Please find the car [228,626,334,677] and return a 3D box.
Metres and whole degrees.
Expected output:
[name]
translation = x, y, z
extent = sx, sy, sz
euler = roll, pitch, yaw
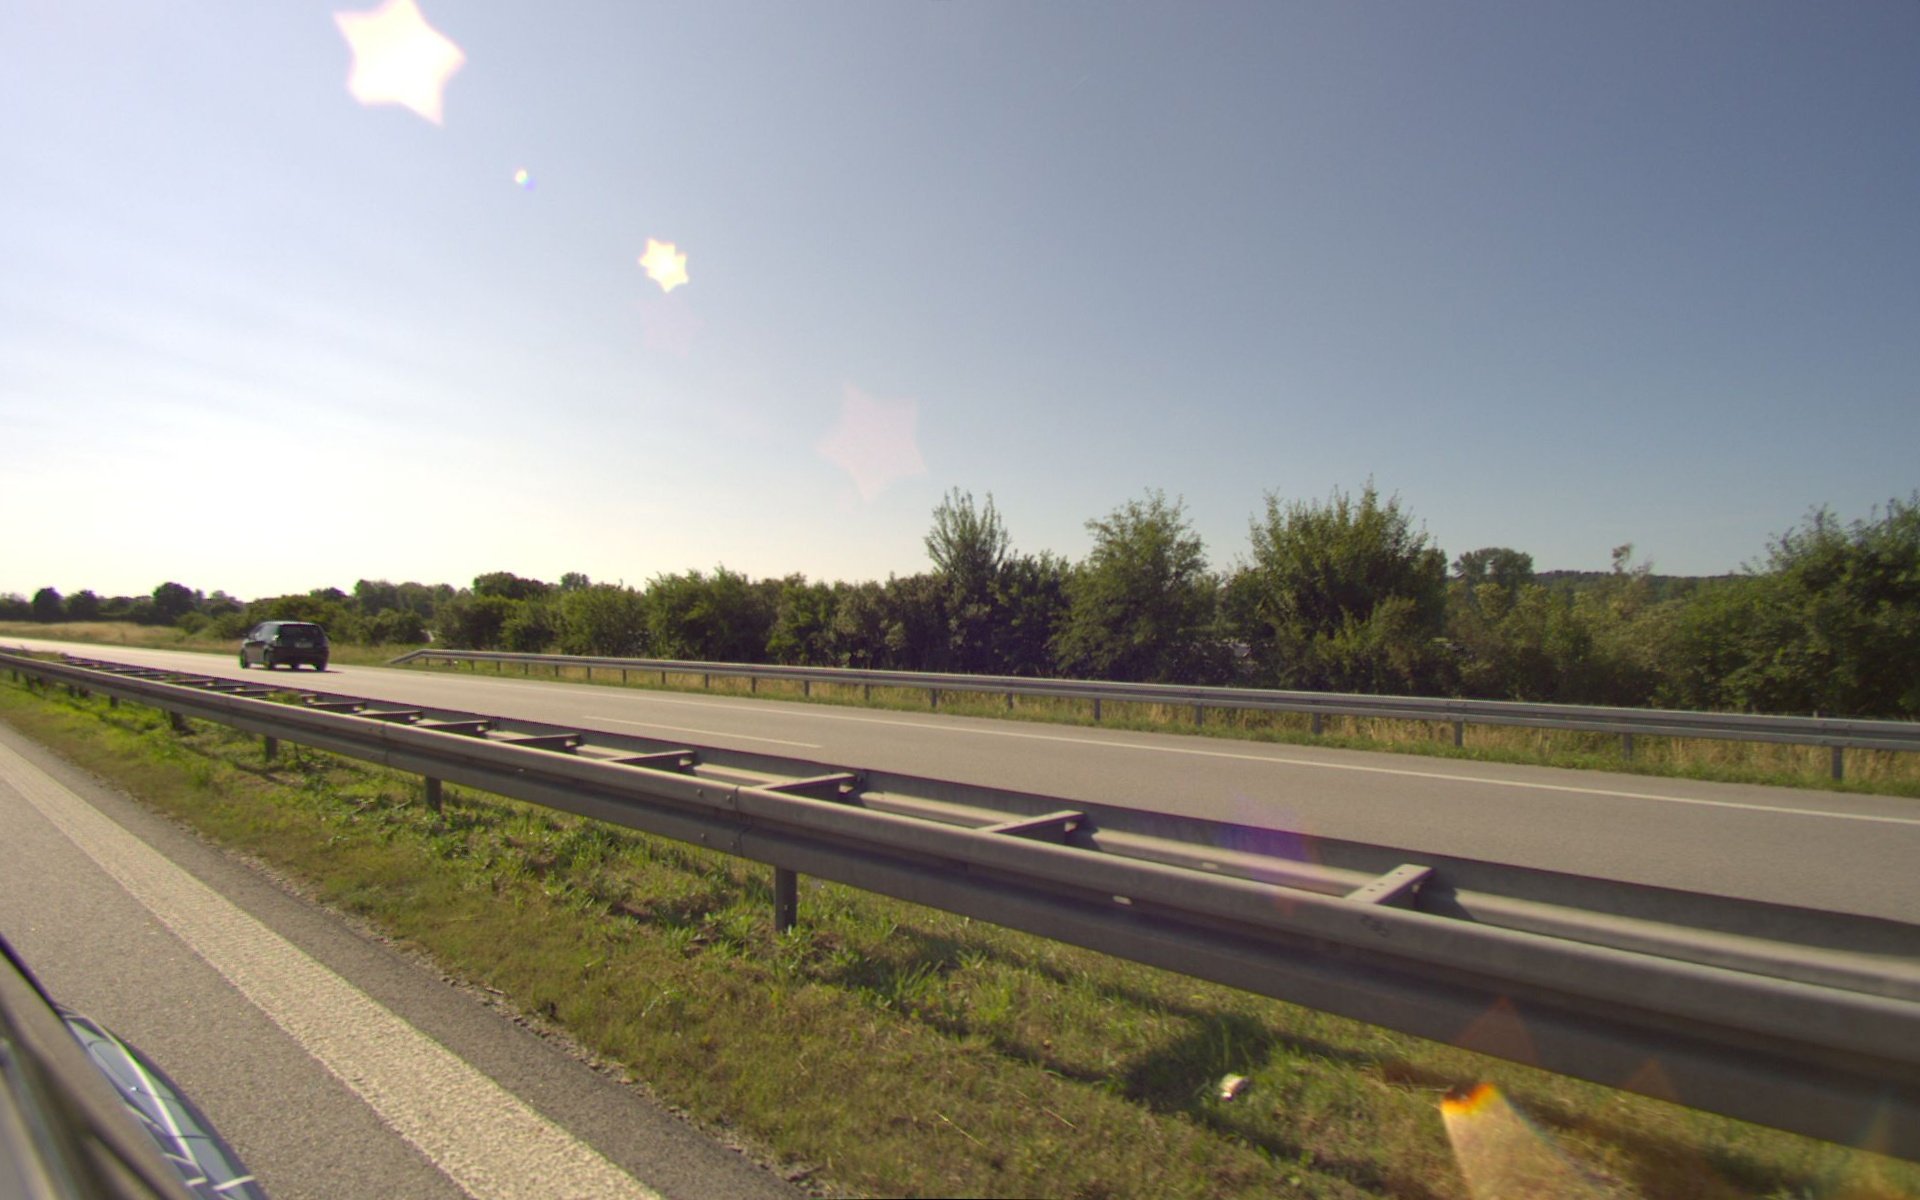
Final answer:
[car]
translation = -23.202, 1.715, 34.512
extent = 4.654, 1.583, 1.810
euler = -1, -3, 41
